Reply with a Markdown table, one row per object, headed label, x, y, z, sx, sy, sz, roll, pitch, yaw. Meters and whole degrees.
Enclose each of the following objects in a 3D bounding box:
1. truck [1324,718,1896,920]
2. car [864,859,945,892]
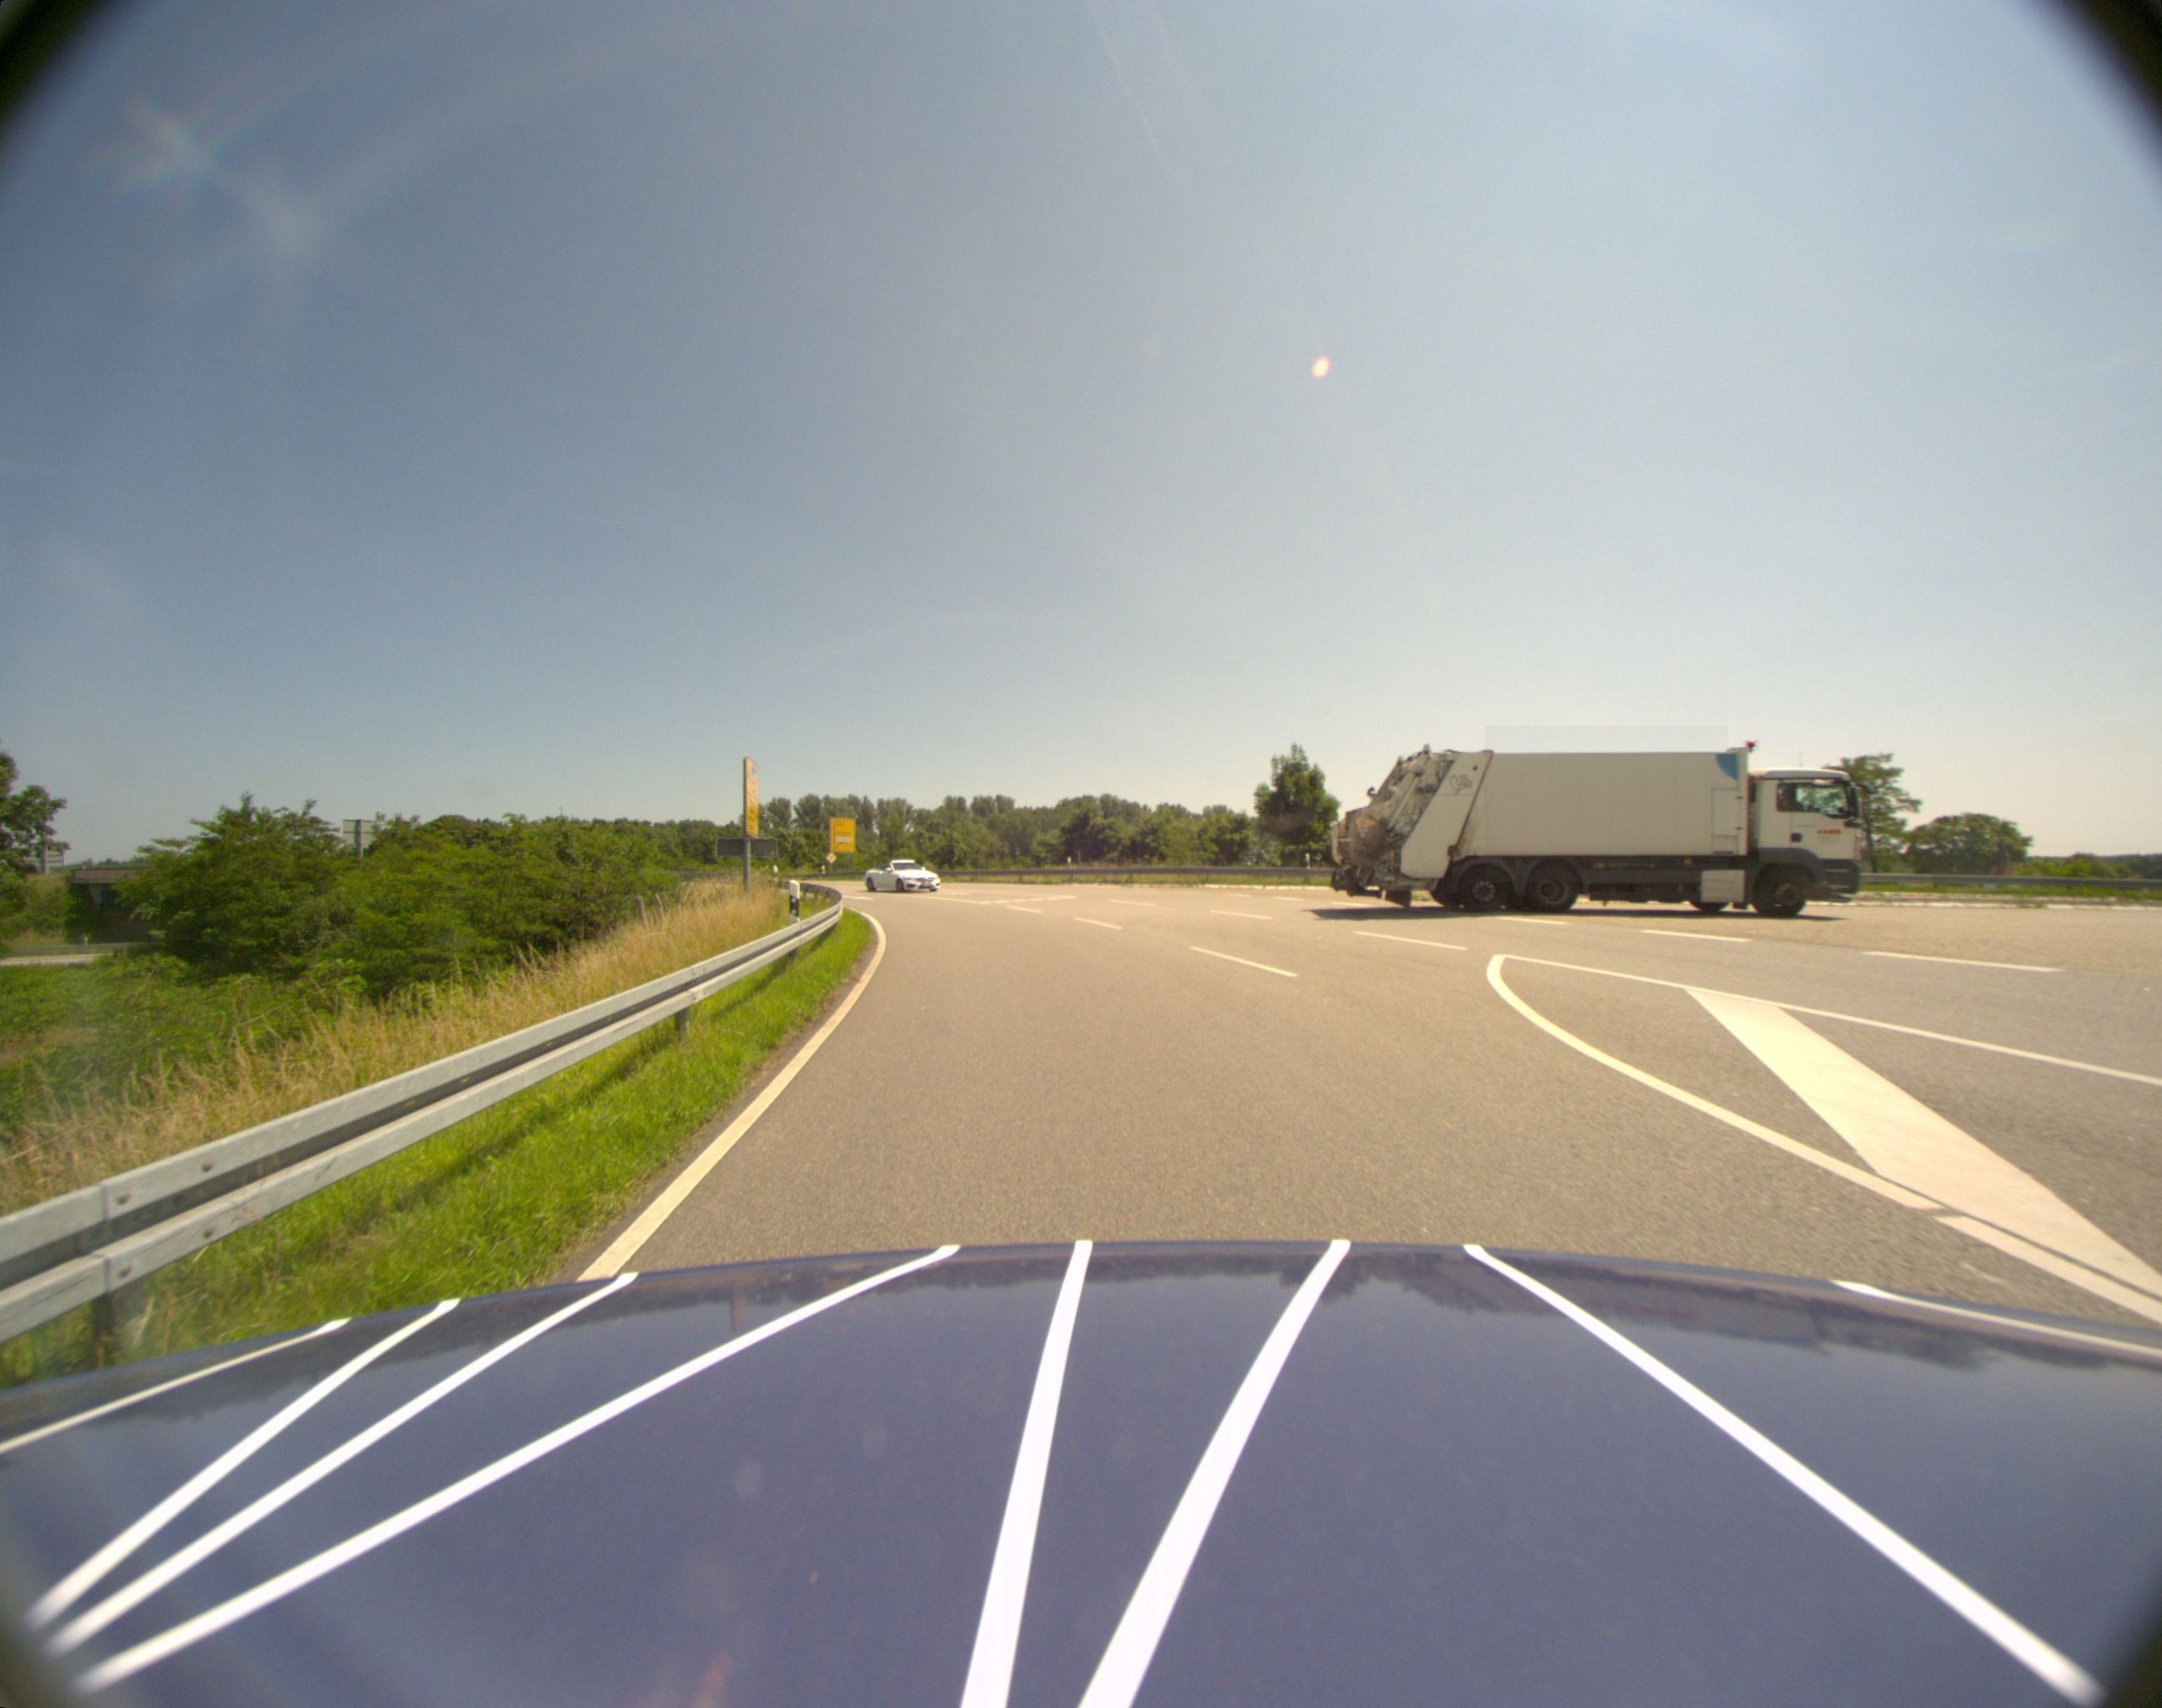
| label | x | y | z | sx | sy | sz | roll | pitch | yaw |
| --- | --- | --- | --- | --- | --- | --- | --- | --- | --- |
| truck | 10.768 | -0.541 | 16.778 | 9.931 | 3.646 | 2.826 | -2 | -2 | 11 |
| car | -8.121 | 0.969 | 34.761 | 1.818 | 1.407 | 4.099 | -1 | -1 | -43 |
